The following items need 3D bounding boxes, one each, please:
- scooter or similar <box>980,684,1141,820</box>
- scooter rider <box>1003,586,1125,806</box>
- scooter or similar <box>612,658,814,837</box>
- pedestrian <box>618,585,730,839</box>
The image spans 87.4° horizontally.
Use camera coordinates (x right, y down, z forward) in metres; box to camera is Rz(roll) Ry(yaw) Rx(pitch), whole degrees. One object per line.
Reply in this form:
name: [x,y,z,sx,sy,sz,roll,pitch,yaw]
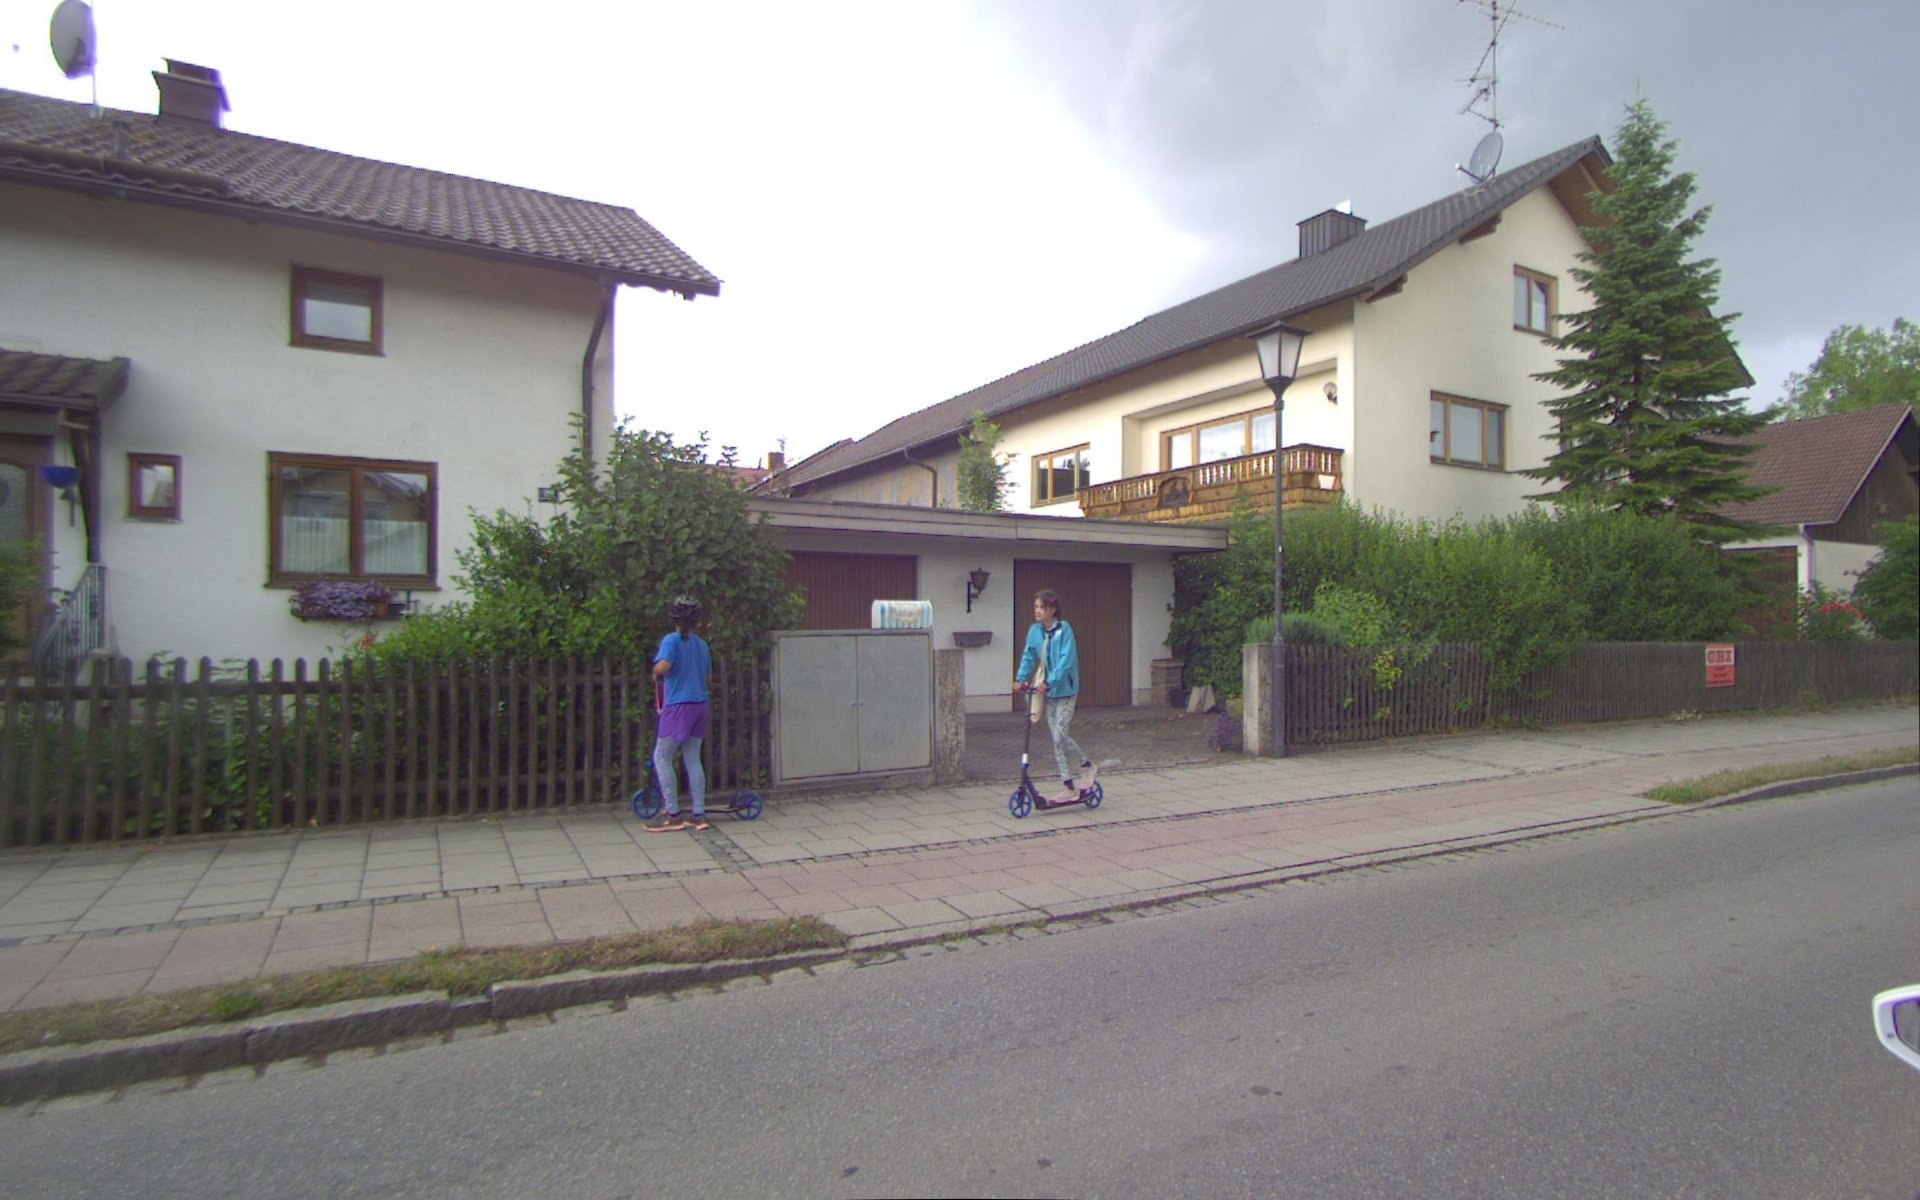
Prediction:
scooter or similar: [0.733,1.070,7.280,1.048,0.861,0.519,1,0,-29]
scooter rider: [0.748,0.664,7.282,0.707,1.509,0.500,1,0,-29]
scooter or similar: [-1.637,0.925,6.651,1.164,1.051,0.658,1,-1,-29]
pedestrian: [-1.823,0.687,6.455,0.478,1.549,0.535,1,0,11]
